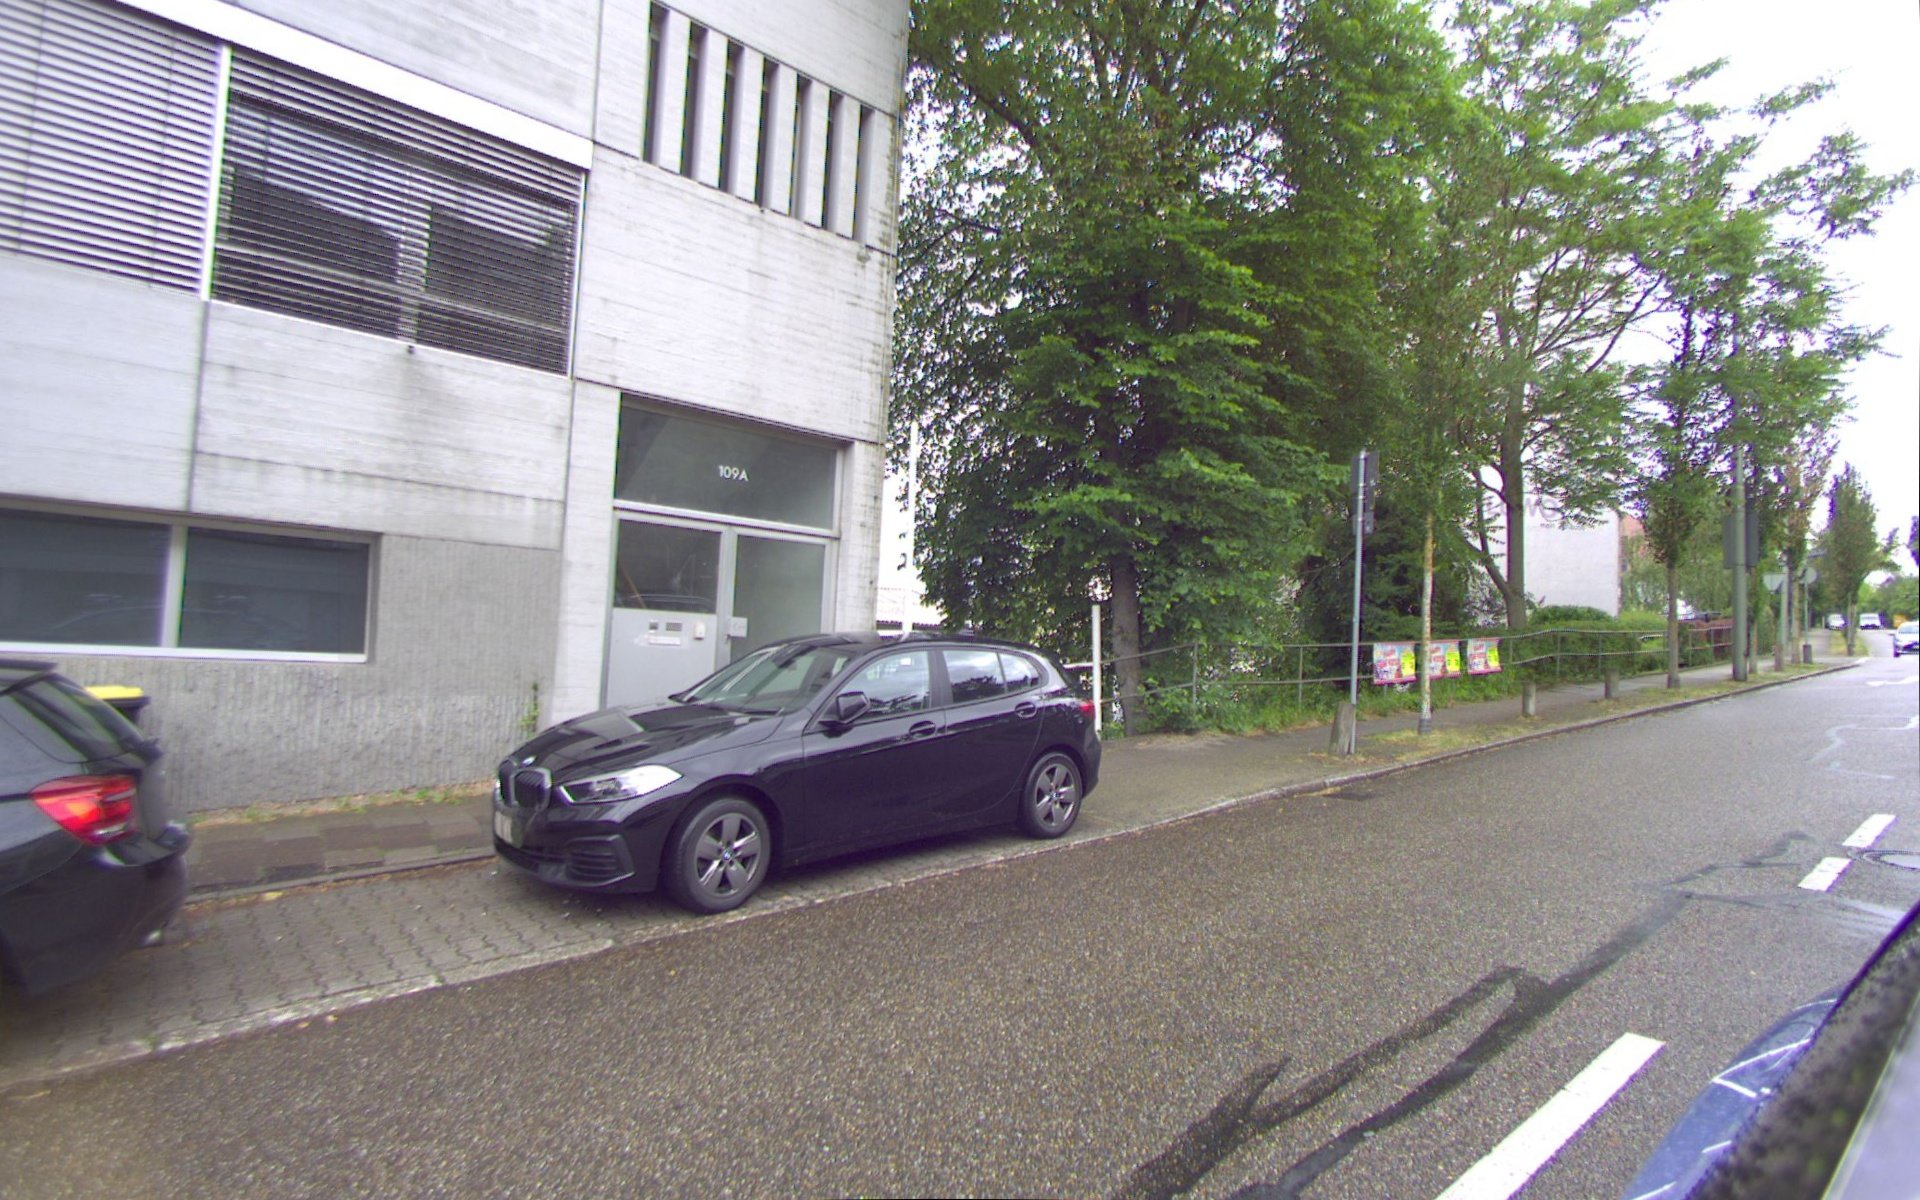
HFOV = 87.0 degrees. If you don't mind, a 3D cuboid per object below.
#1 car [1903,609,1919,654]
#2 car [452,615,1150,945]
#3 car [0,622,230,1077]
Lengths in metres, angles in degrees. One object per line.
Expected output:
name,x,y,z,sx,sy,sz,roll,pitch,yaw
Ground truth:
car,40.177,1.296,41.667,1.887,1.741,4.170,2,2,44
car,-0.831,0.867,6.928,4.367,1.453,1.996,0,0,-43
car,-4.895,0.849,3.167,4.173,1.466,1.753,0,0,-38
